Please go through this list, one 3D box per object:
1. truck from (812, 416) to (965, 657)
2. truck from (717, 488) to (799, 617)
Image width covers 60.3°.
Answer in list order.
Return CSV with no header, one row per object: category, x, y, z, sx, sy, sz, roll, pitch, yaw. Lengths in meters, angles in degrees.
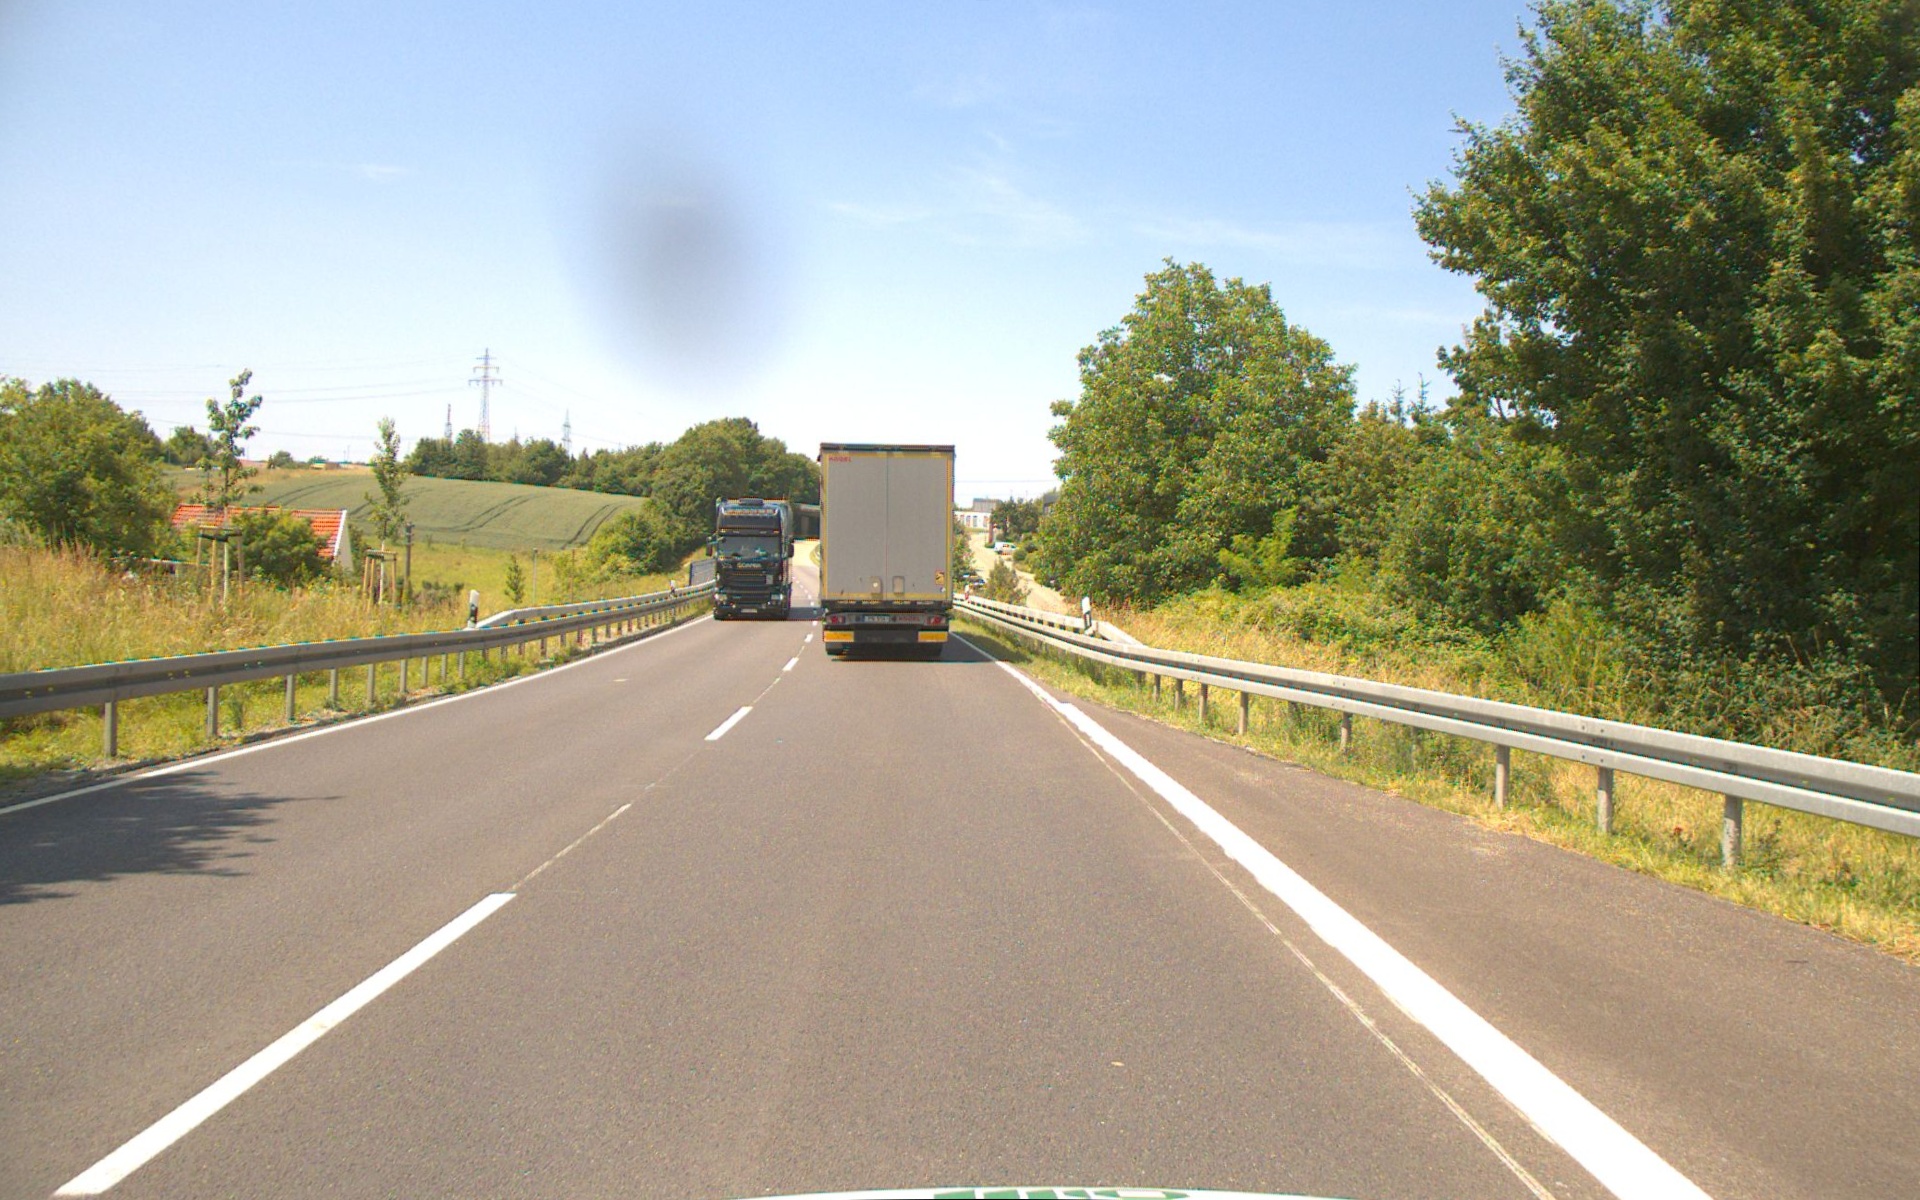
truck,-1.662,-1.246,35.381,2.809,4.435,9.781,0,1,-4
truck,-6.962,-1.637,57.547,2.397,4.268,5.646,0,1,-3
